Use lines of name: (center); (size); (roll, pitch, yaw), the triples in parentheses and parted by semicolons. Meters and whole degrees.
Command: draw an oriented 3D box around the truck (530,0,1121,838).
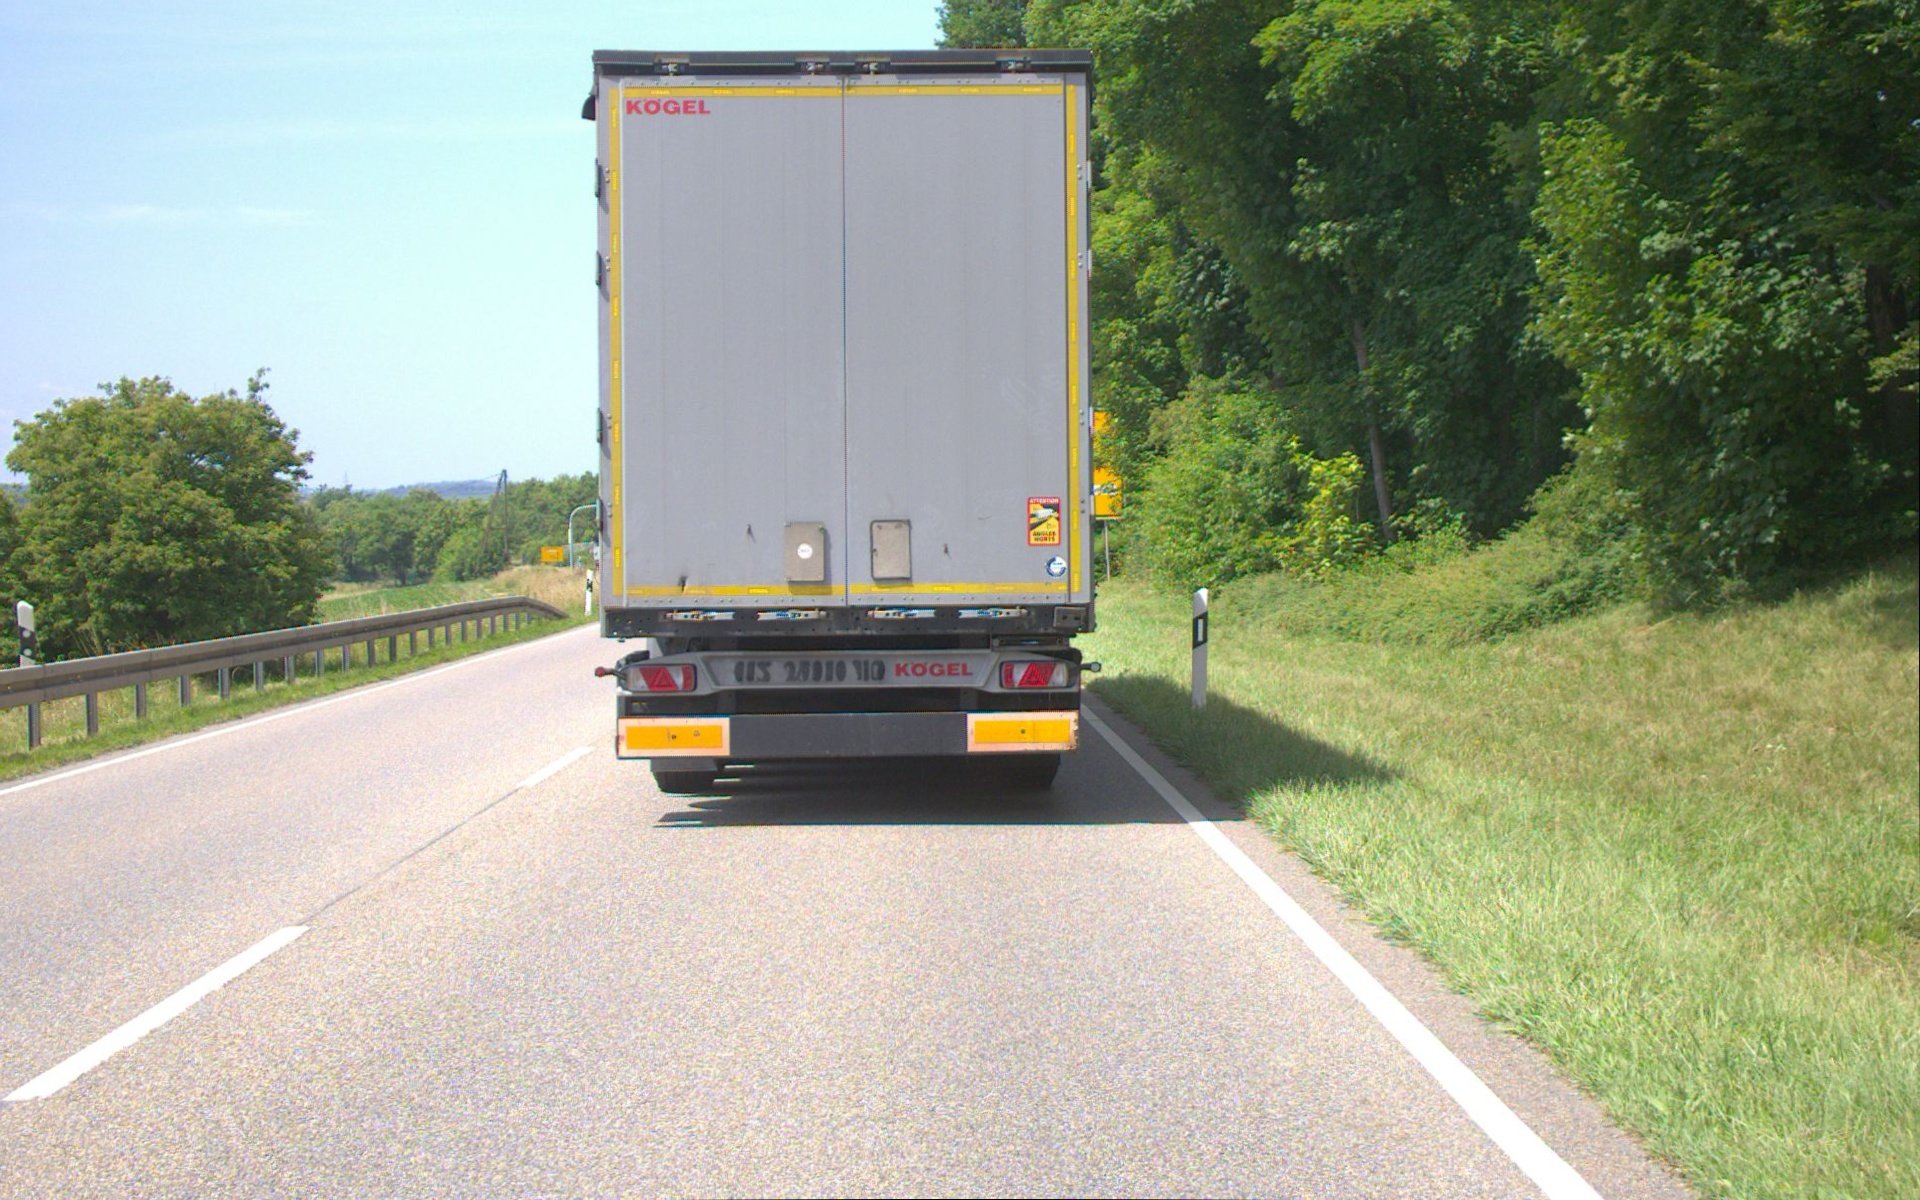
truck: (-0.722, -1.104, 21.519); (2.907, 4.395, 8.861); (0, 1, -1)
